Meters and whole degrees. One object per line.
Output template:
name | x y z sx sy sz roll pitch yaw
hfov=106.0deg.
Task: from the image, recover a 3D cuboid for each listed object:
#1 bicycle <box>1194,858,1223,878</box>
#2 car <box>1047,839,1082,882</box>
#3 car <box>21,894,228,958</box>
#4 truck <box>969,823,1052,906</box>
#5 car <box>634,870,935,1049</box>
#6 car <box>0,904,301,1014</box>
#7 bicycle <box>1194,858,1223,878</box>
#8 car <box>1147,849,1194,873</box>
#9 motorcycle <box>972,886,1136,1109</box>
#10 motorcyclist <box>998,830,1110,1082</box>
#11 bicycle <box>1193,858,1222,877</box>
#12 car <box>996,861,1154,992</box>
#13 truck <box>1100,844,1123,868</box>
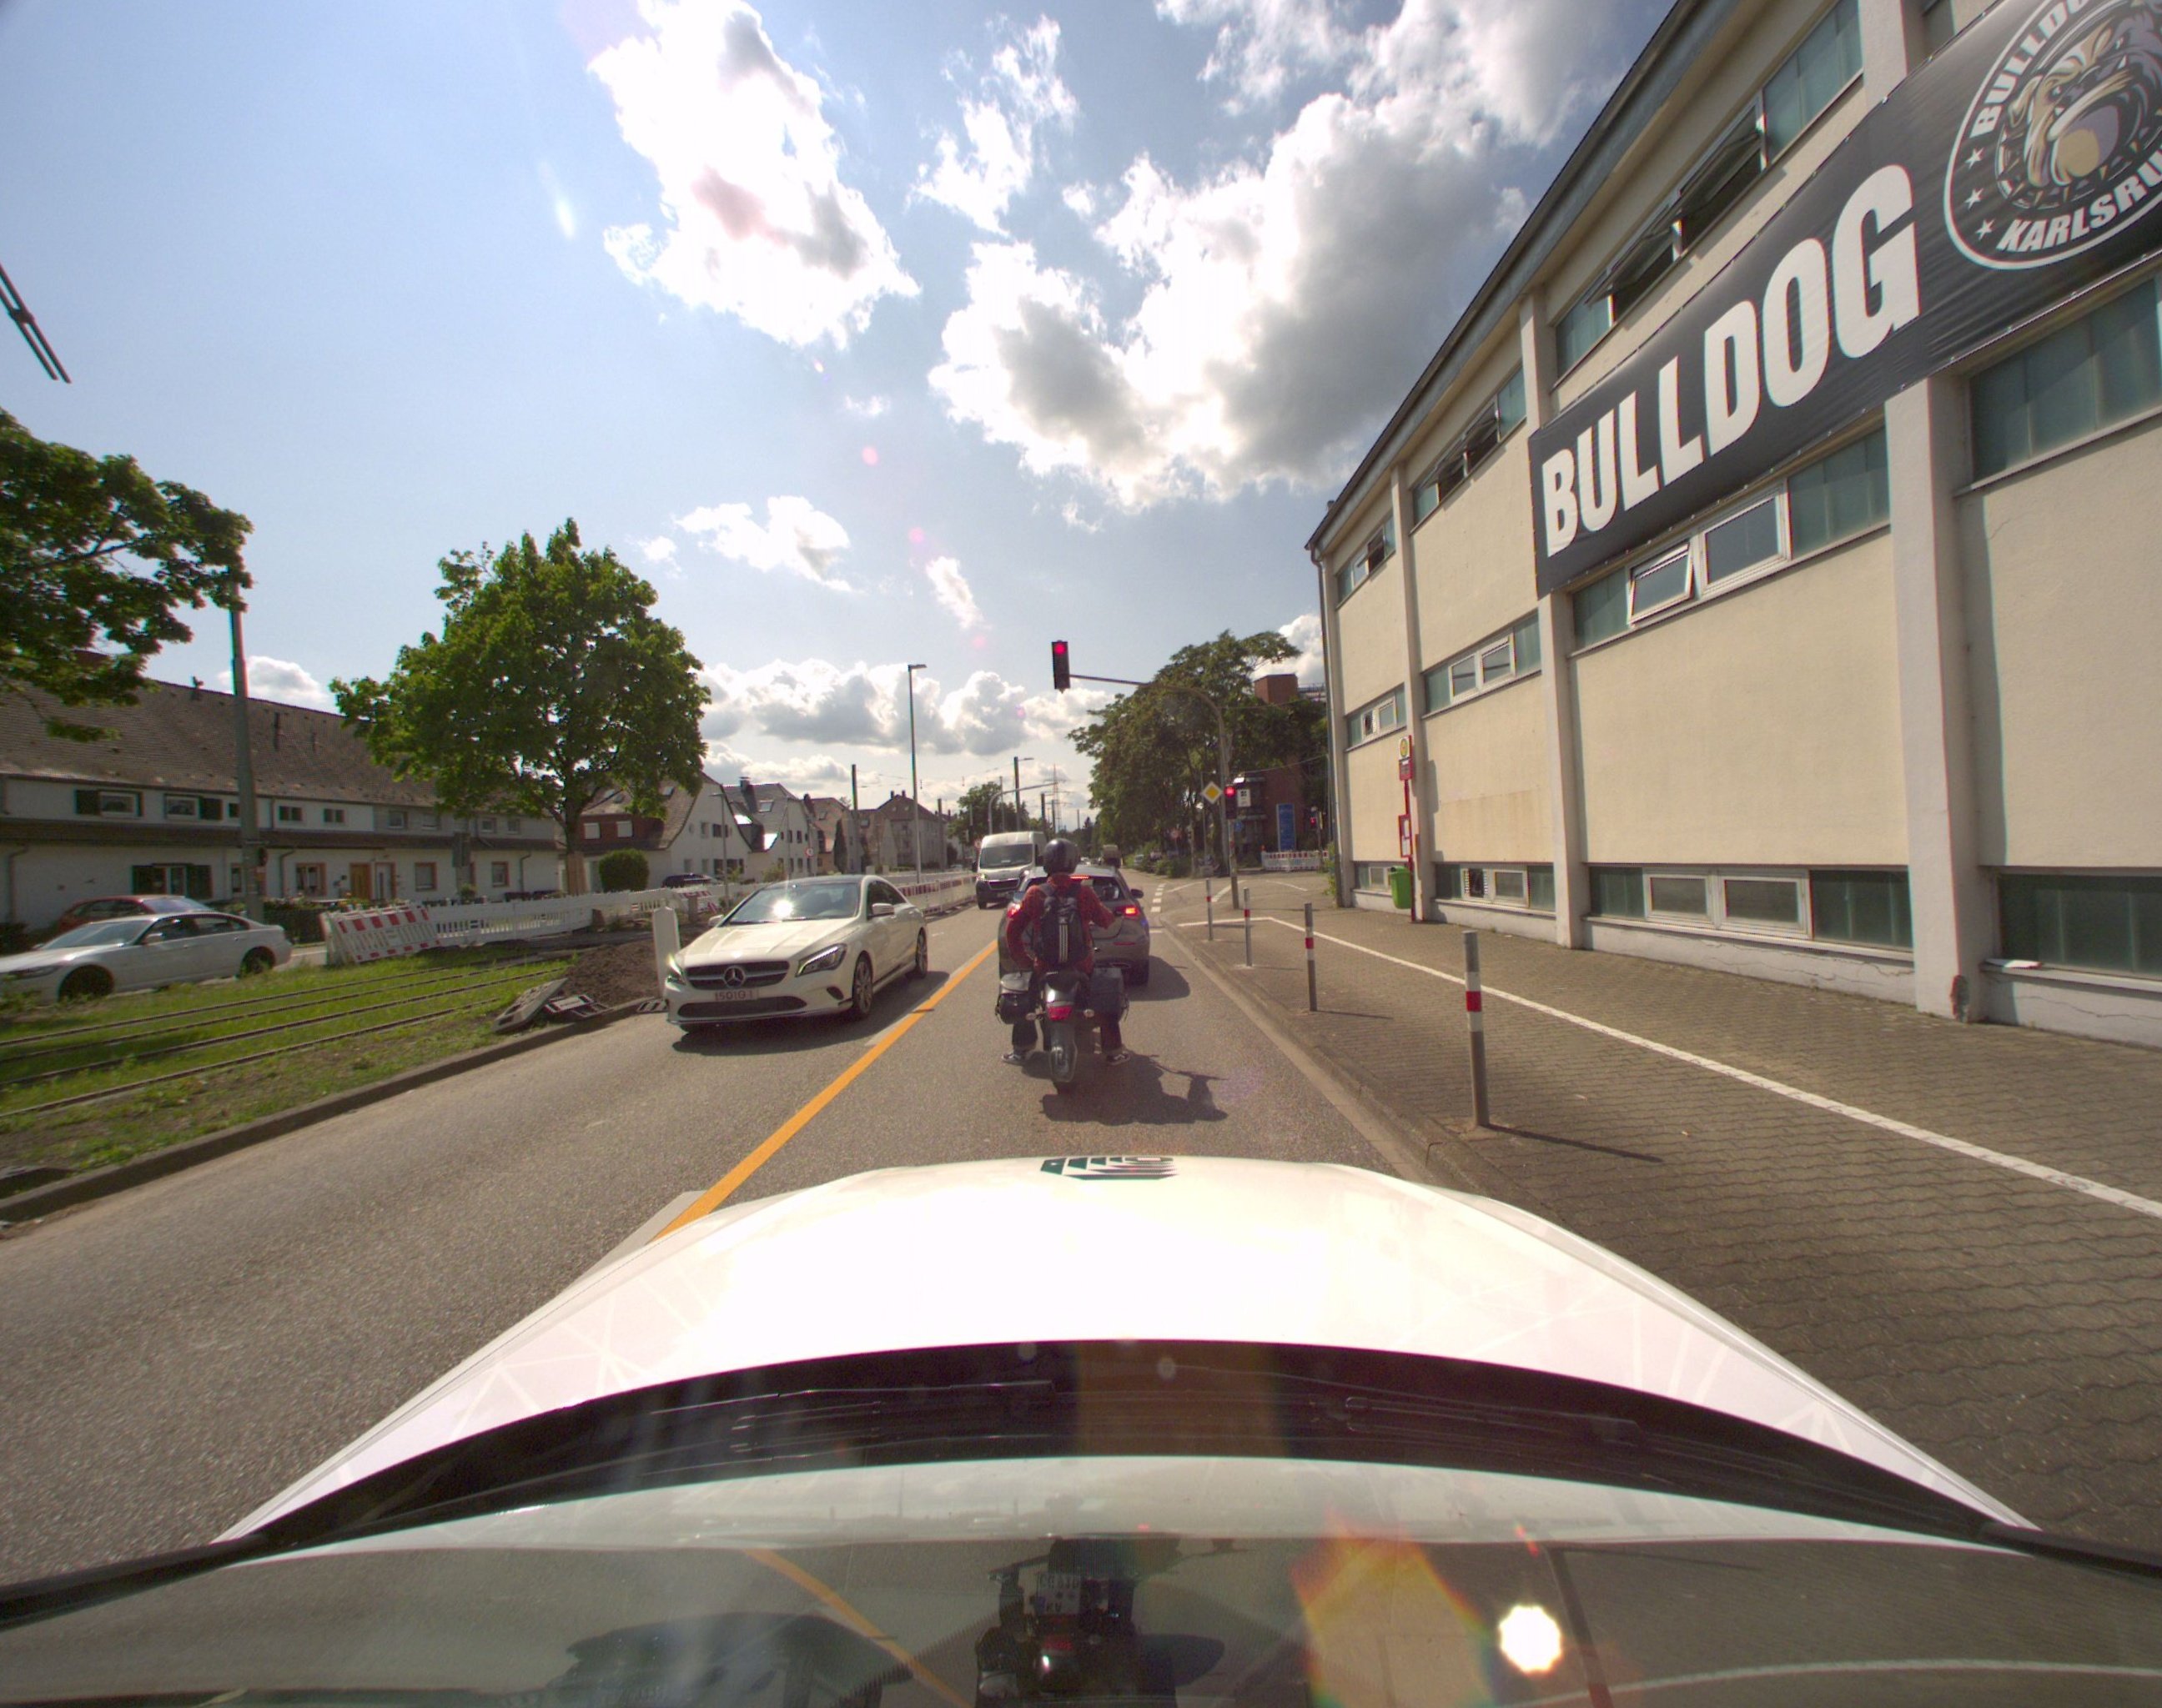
bicycle | 7.782 0.851 49.848 1.699 1.172 0.438 -1 -1 6
car | -0.841 0.373 43.132 1.583 2.143 3.628 -1 -1 2
car | -28.219 2.095 24.126 3.974 1.509 1.725 -3 0 -1
truck | -2.323 0.289 28.303 2.085 2.476 5.198 -4 1 2
car | -2.954 0.954 9.140 1.738 1.437 4.084 -4 -1 1
car | -16.461 1.726 14.334 1.538 1.376 4.245 -3 0 -5
bicycle | 7.716 0.866 49.293 1.699 1.172 0.438 -1 -1 6
car | 7.635 0.583 69.510 4.023 1.926 1.781 0 -1 -44
motorcycle | -0.131 0.885 5.988 0.939 1.200 2.473 -1 0 1
motorcyclist | -0.168 0.657 5.581 0.696 1.604 0.692 -1 -1 1
bicycle | 7.827 0.842 50.418 1.699 1.172 0.438 -1 -1 6
car | -0.178 0.810 11.015 1.728 1.403 4.081 -1 0 -3
truck | 4.267 0.259 113.376 2.954 3.173 7.771 -1 -1 4
